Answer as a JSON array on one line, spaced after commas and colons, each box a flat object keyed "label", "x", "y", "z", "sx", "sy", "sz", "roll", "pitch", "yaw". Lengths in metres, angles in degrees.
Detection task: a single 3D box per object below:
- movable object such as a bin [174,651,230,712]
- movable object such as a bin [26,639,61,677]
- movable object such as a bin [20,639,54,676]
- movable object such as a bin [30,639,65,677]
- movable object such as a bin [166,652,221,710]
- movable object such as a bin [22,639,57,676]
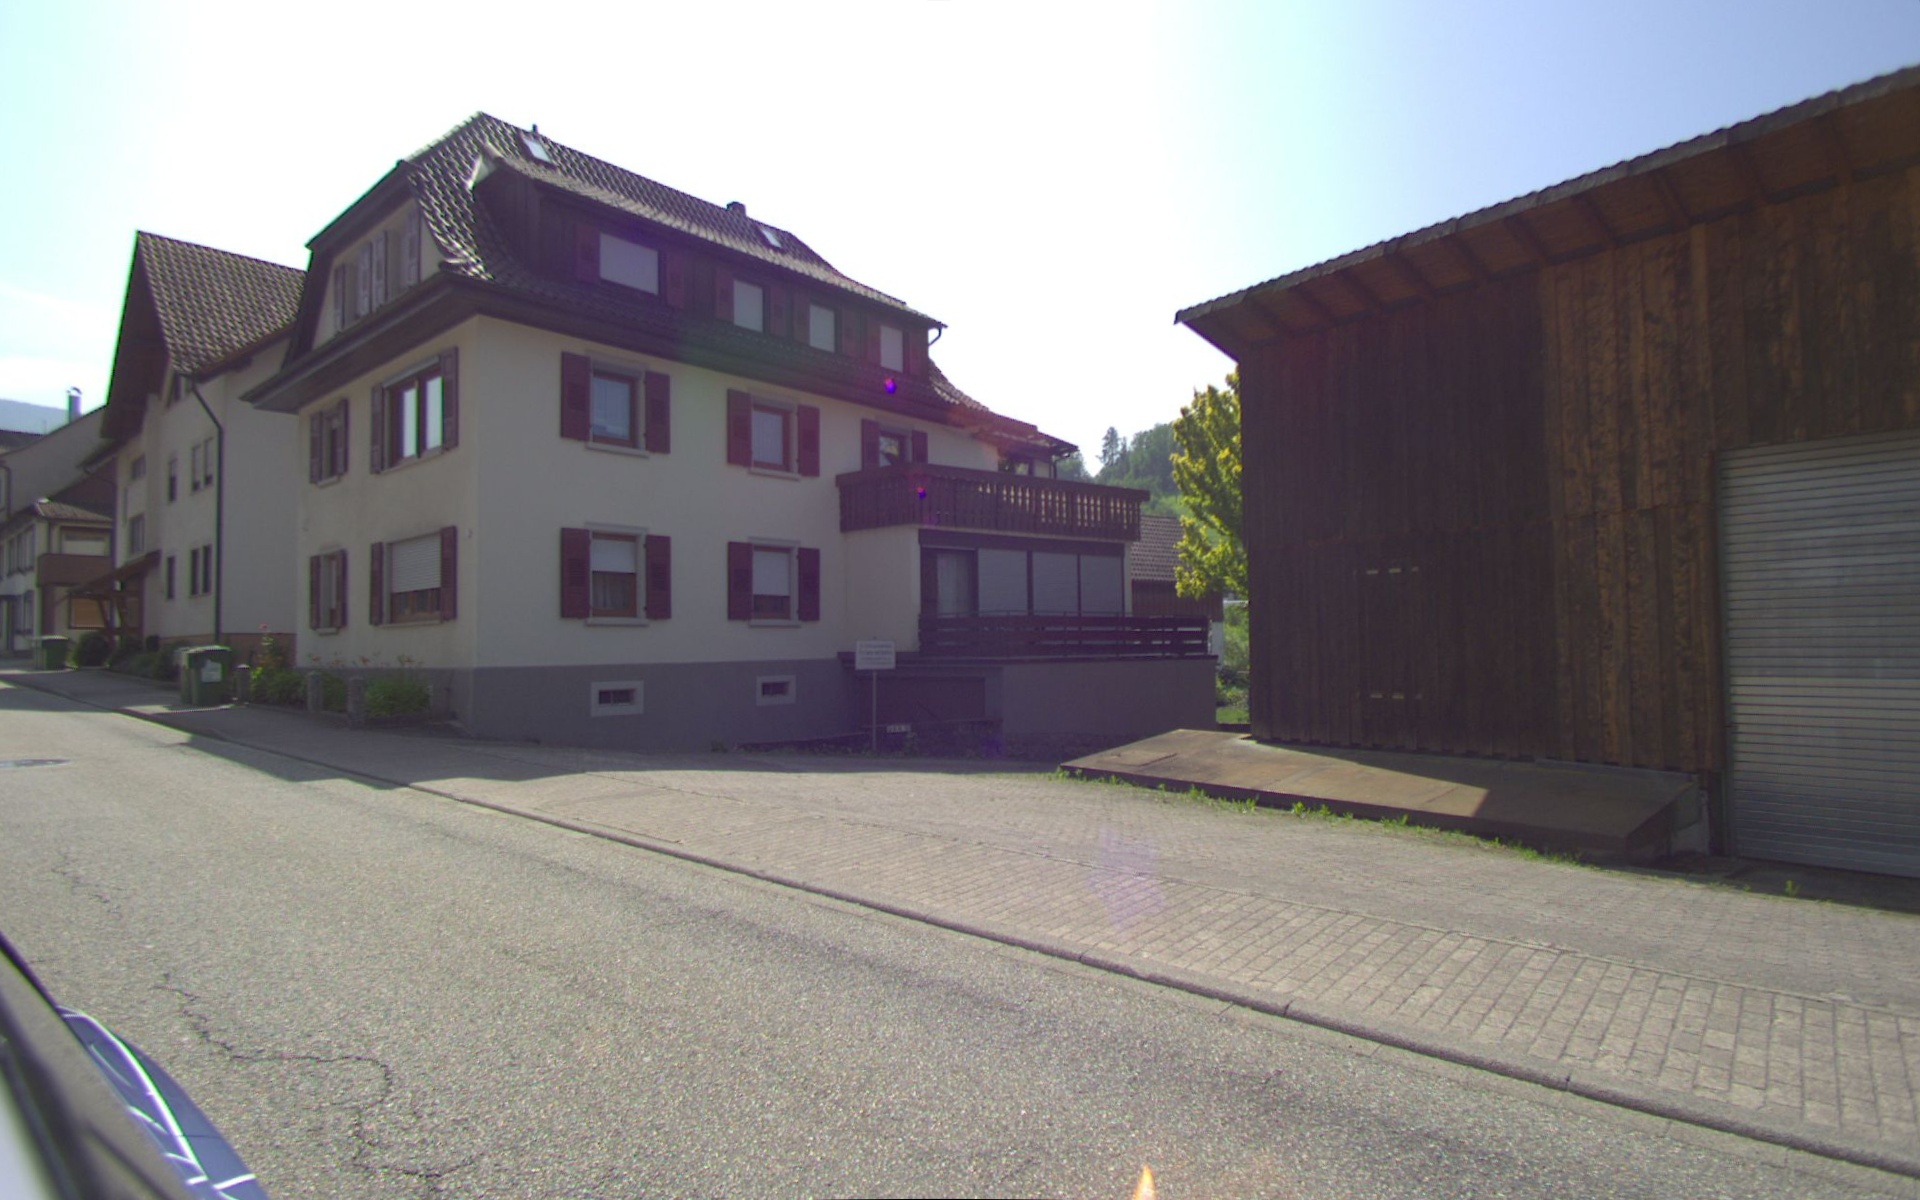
[{"label": "movable object such as a bin", "x": -14.053, "y": 1.500, "z": 18.769, "sx": 0.621, "sy": 1.075, "sz": 0.669, "roll": -1, "pitch": -3, "yaw": 39}, {"label": "movable object such as a bin", "x": -29.461, "y": 1.855, "z": 32.544, "sx": 0.597, "sy": 1.190, "sz": 0.710, "roll": -2, "pitch": -4, "yaw": 41}, {"label": "movable object such as a bin", "x": -30.457, "y": 1.904, "z": 33.394, "sx": 0.597, "sy": 1.190, "sz": 0.710, "roll": -2, "pitch": -4, "yaw": 41}, {"label": "movable object such as a bin", "x": -28.962, "y": 1.835, "z": 32.116, "sx": 0.597, "sy": 1.190, "sz": 0.710, "roll": -2, "pitch": -4, "yaw": 41}, {"label": "movable object such as a bin", "x": -14.670, "y": 1.537, "z": 19.369, "sx": 0.653, "sy": 1.075, "sz": 0.669, "roll": -1, "pitch": -3, "yaw": 39}, {"label": "movable object such as a bin", "x": -29.965, "y": 1.876, "z": 32.955, "sx": 0.597, "sy": 1.190, "sz": 0.710, "roll": -2, "pitch": -4, "yaw": 41}]
